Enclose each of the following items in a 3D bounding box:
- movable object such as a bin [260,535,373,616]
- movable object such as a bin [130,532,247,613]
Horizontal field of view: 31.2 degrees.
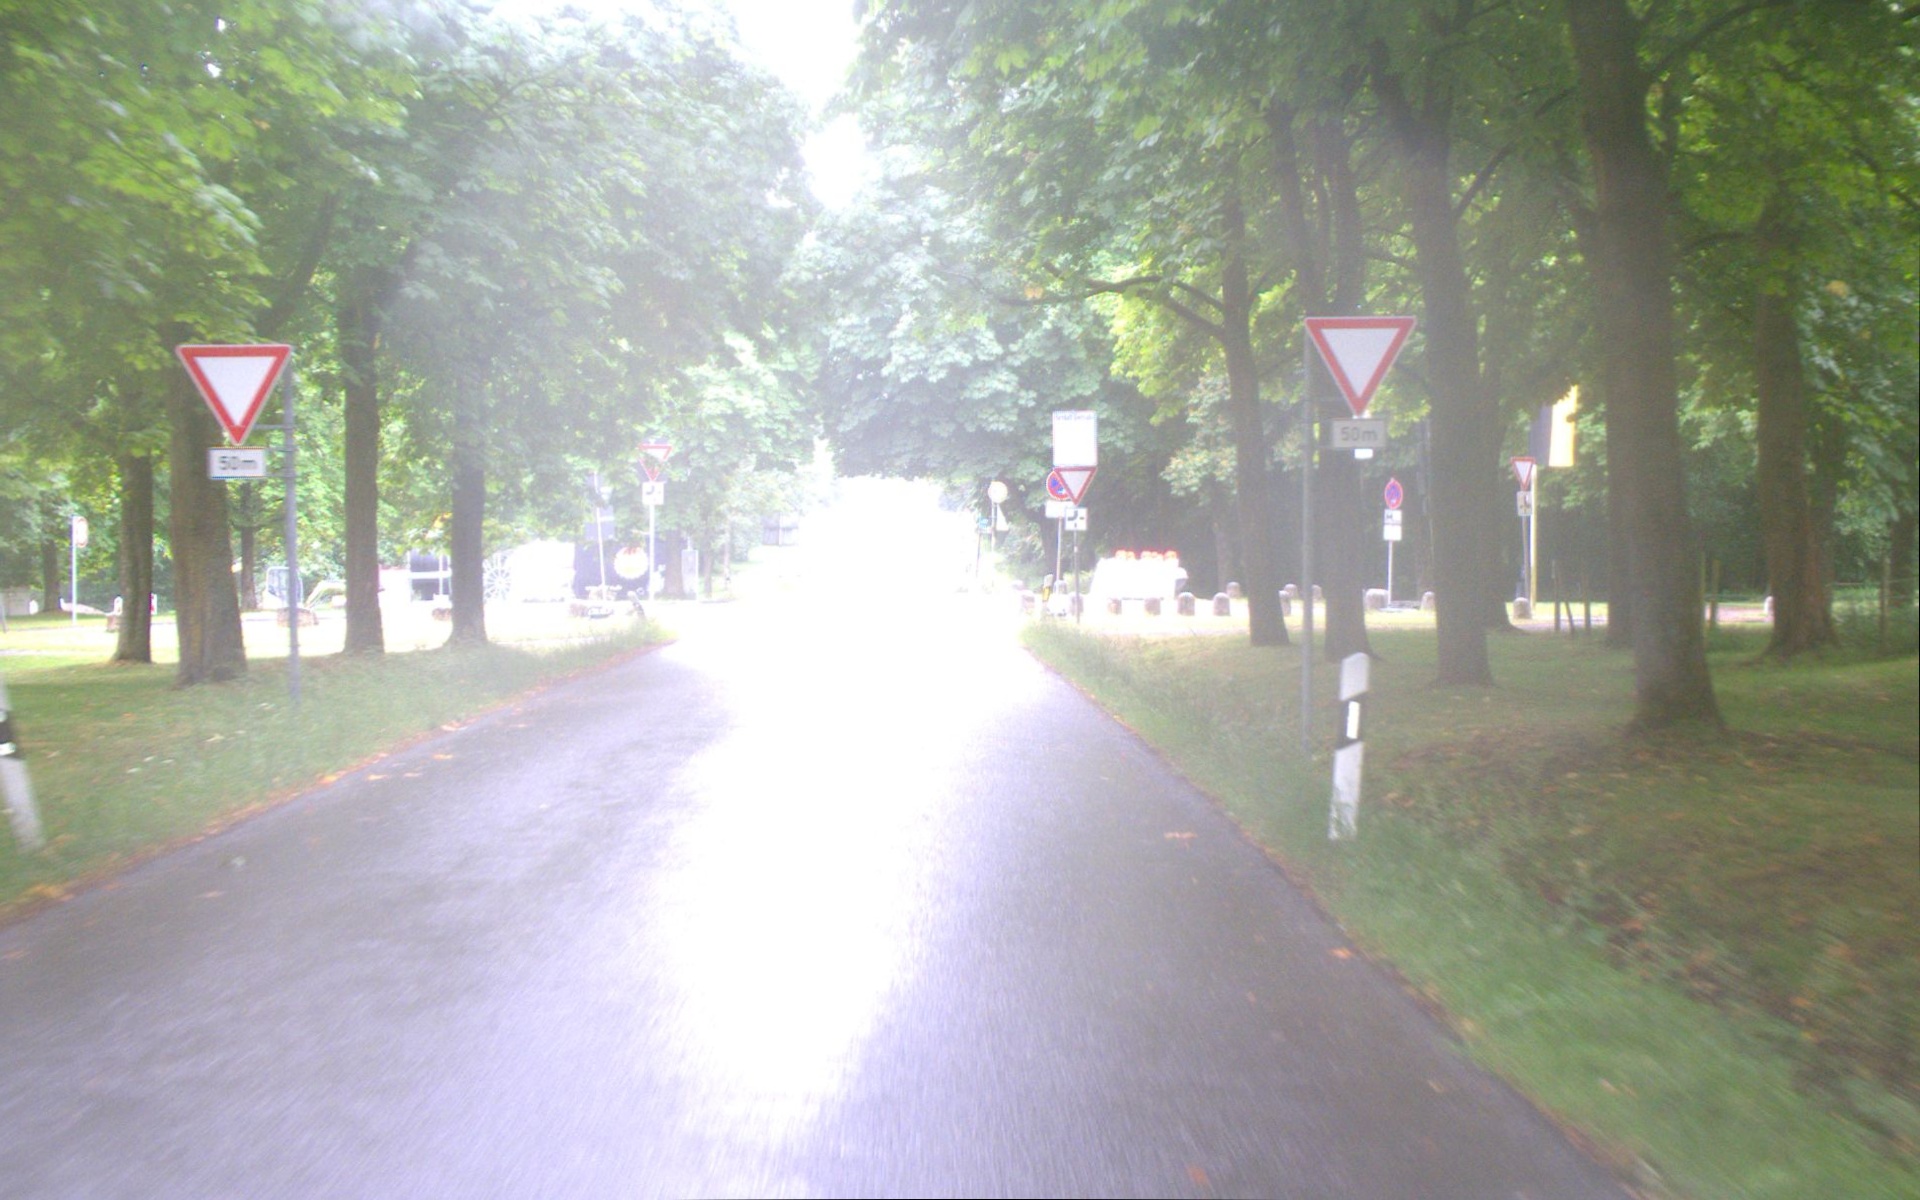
[{"bbox_3d":[-27.222,-1.041,145.415,4.580,3.283,3.667,-1,0,-12],"label":"movable object such as a bin"},{"bbox_3d":[-32.211,-1.151,143.732,4.653,3.283,3.915,-1,0,-12],"label":"movable object such as a bin"}]
